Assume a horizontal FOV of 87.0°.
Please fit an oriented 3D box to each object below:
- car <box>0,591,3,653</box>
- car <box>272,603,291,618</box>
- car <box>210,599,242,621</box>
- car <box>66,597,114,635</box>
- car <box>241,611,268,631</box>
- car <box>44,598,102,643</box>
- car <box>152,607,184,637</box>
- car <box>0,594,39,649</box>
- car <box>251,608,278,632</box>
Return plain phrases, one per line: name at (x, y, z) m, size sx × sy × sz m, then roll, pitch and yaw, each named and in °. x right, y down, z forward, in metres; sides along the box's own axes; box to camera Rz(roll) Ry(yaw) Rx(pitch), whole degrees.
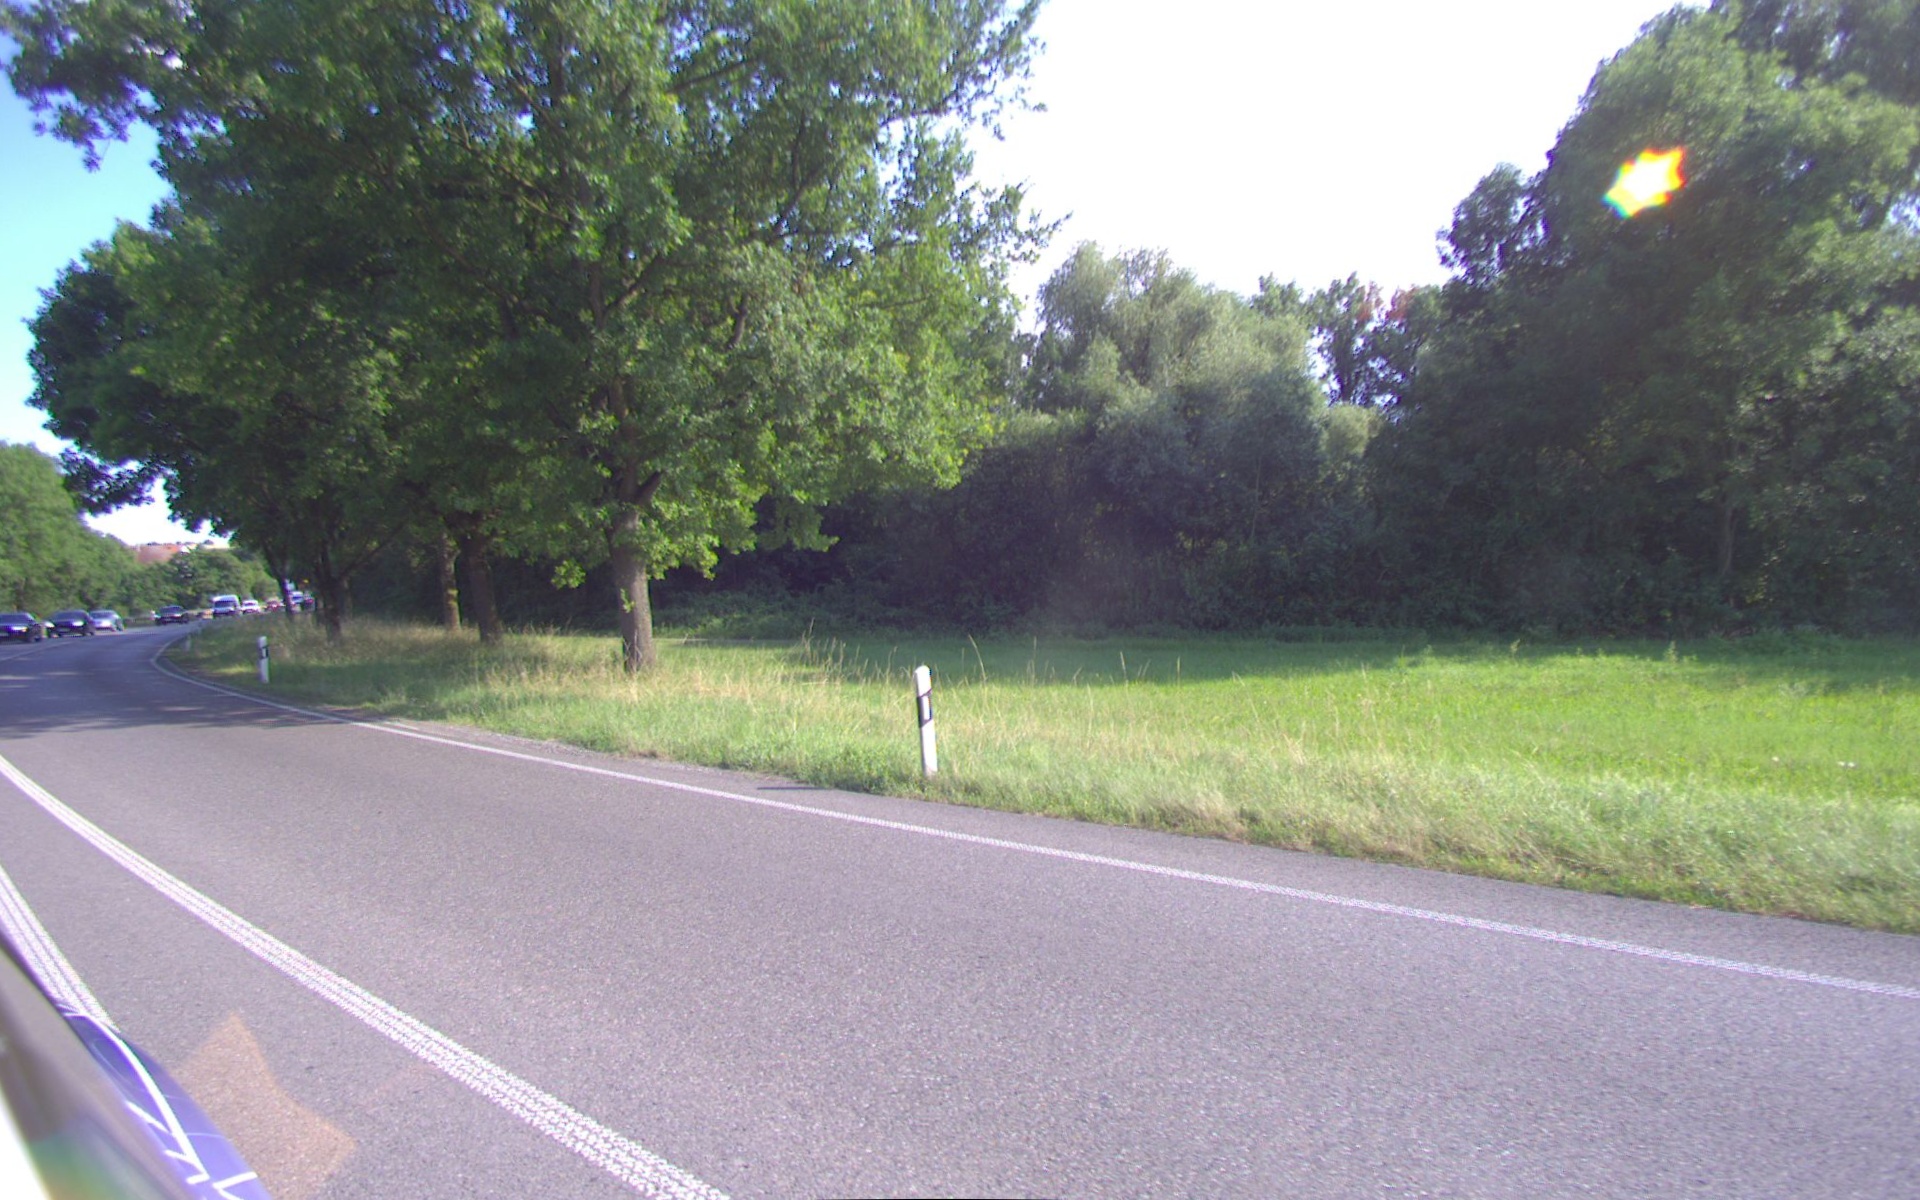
car at (-37.587, 0.895, 37.595) m, size 2.055 × 2.435 × 5.156 m, roll -1°, pitch 1°, yaw -34°
car at (-122.203, 1.883, 182.226) m, size 2.054 × 2.435 × 5.159 m, roll -1°, pitch 1°, yaw -25°
car at (-85.131, 1.095, 117.399) m, size 2.054 × 2.435 × 5.159 m, roll -1°, pitch 1°, yaw -25°
car at (-58.941, 1.059, 68.663) m, size 2.056 × 2.435 × 5.154 m, roll -1°, pitch 1°, yaw -36°
car at (-93.854, 2.750, 134.694) m, size 2.054 × 2.435 × 5.159 m, roll -1°, pitch 1°, yaw -25°
car at (-51.082, 1.136, 58.369) m, size 2.056 × 2.435 × 5.154 m, roll -1°, pitch 1°, yaw -36°
car at (-69.956, 1.903, 89.433) m, size 2.056 × 2.435 × 5.154 m, roll -1°, pitch 1°, yaw -36°
car at (-44.856, 0.973, 47.360) m, size 2.056 × 2.435 × 5.154 m, roll -1°, pitch 1°, yaw -36°
car at (-73.949, 2.091, 107.657) m, size 2.054 × 2.435 × 5.157 m, roll -1°, pitch 1°, yaw -32°
